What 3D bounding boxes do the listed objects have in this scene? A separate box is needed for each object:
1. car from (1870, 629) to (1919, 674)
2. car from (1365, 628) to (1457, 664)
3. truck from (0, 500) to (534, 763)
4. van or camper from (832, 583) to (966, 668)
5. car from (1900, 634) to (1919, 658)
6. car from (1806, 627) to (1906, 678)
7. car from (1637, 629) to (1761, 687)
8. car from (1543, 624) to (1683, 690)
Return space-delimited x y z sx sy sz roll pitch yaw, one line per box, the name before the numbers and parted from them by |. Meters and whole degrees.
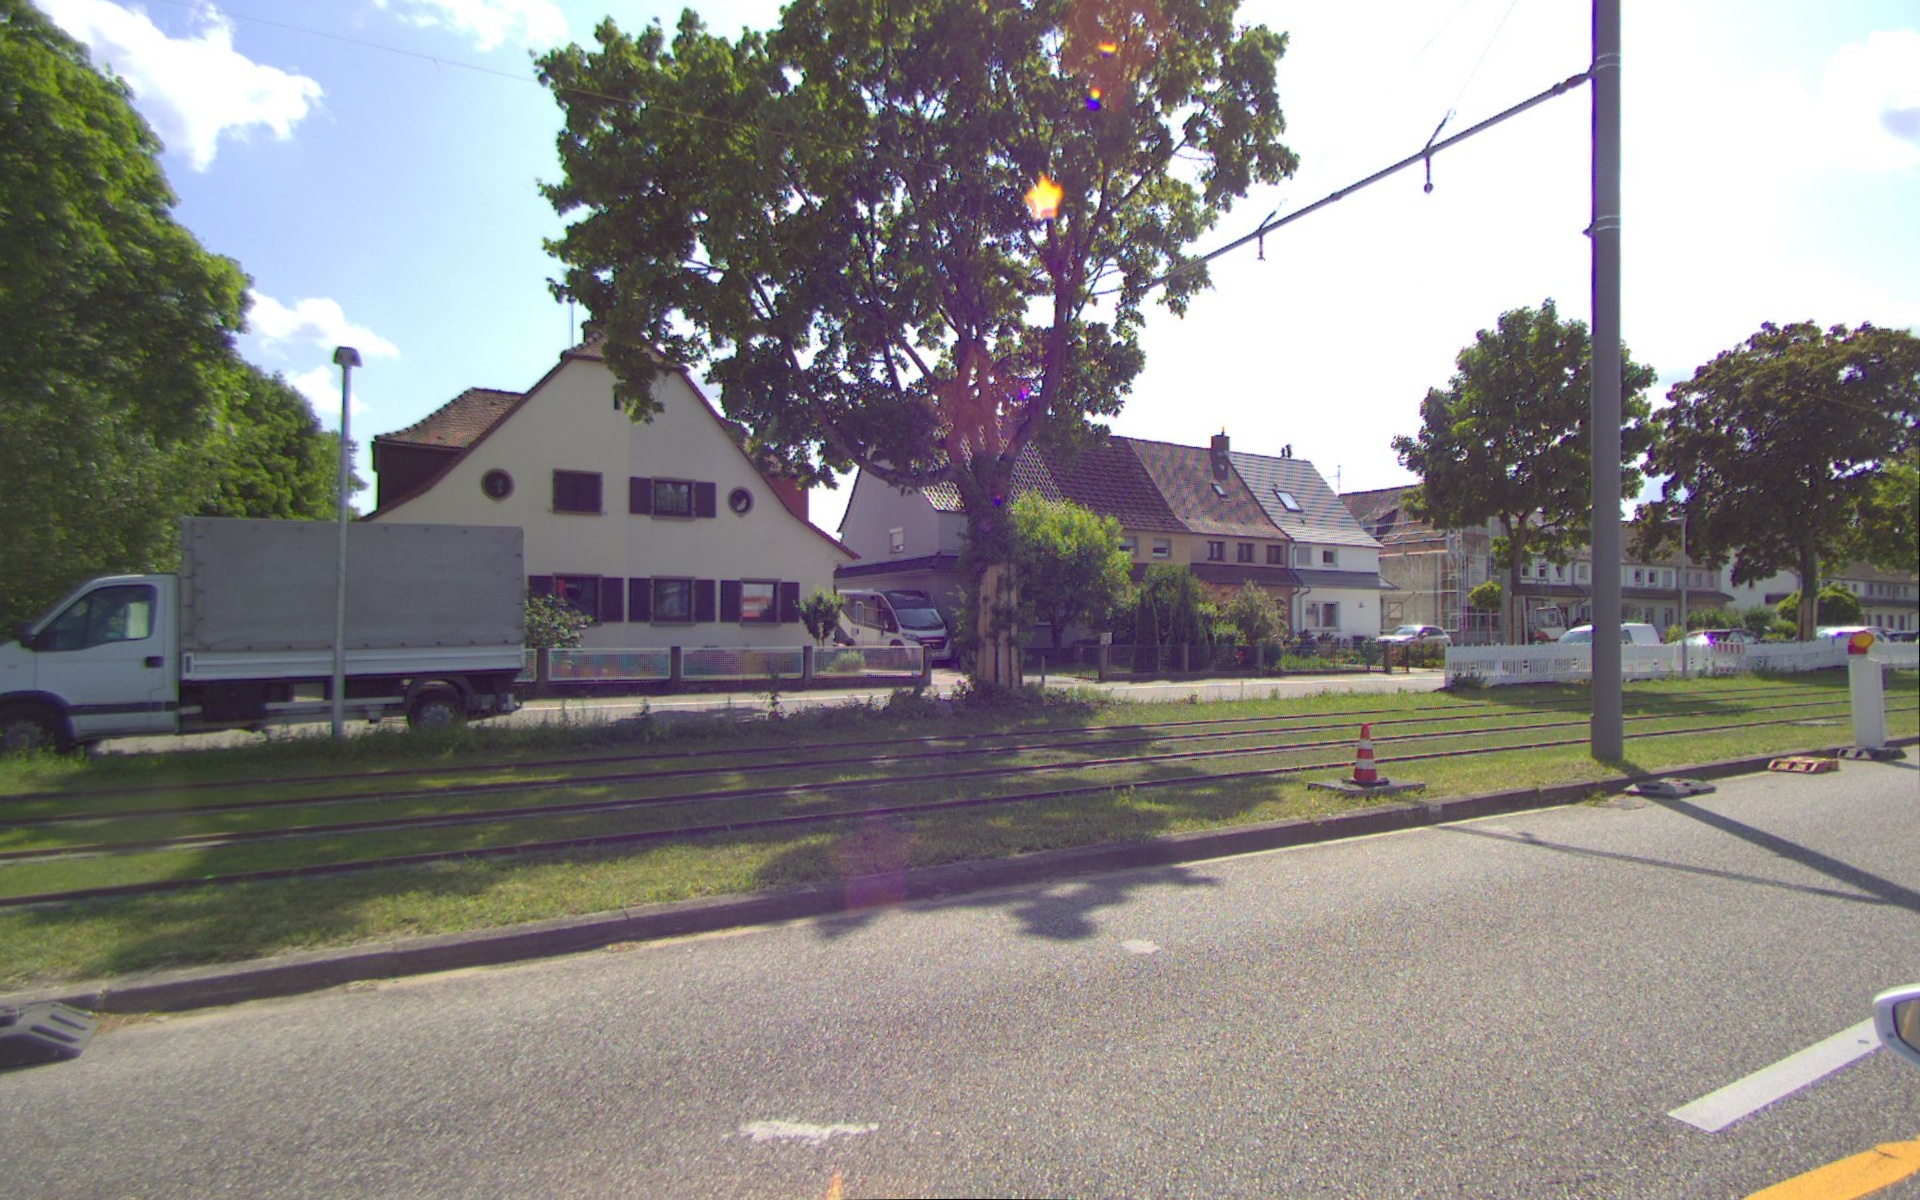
car | 40.645 2.166 42.690 4.079 1.829 1.768 1 -2 -30
car | 19.988 1.993 44.487 3.953 1.539 1.768 1 -2 -30
truck | -8.833 0.404 12.960 5.906 2.817 2.255 1 -2 -31
van or camper | -2.345 0.940 36.592 2.269 2.801 6.050 1 -2 -32
car | 70.027 3.306 72.743 4.079 1.745 1.768 1 -2 -30
car | 35.361 2.032 39.633 4.079 1.892 1.768 1 -2 -30
car | 24.290 1.852 32.993 4.177 1.797 1.768 1 -2 -30
car | 19.555 1.646 30.044 4.312 1.845 1.768 1 -2 -30
